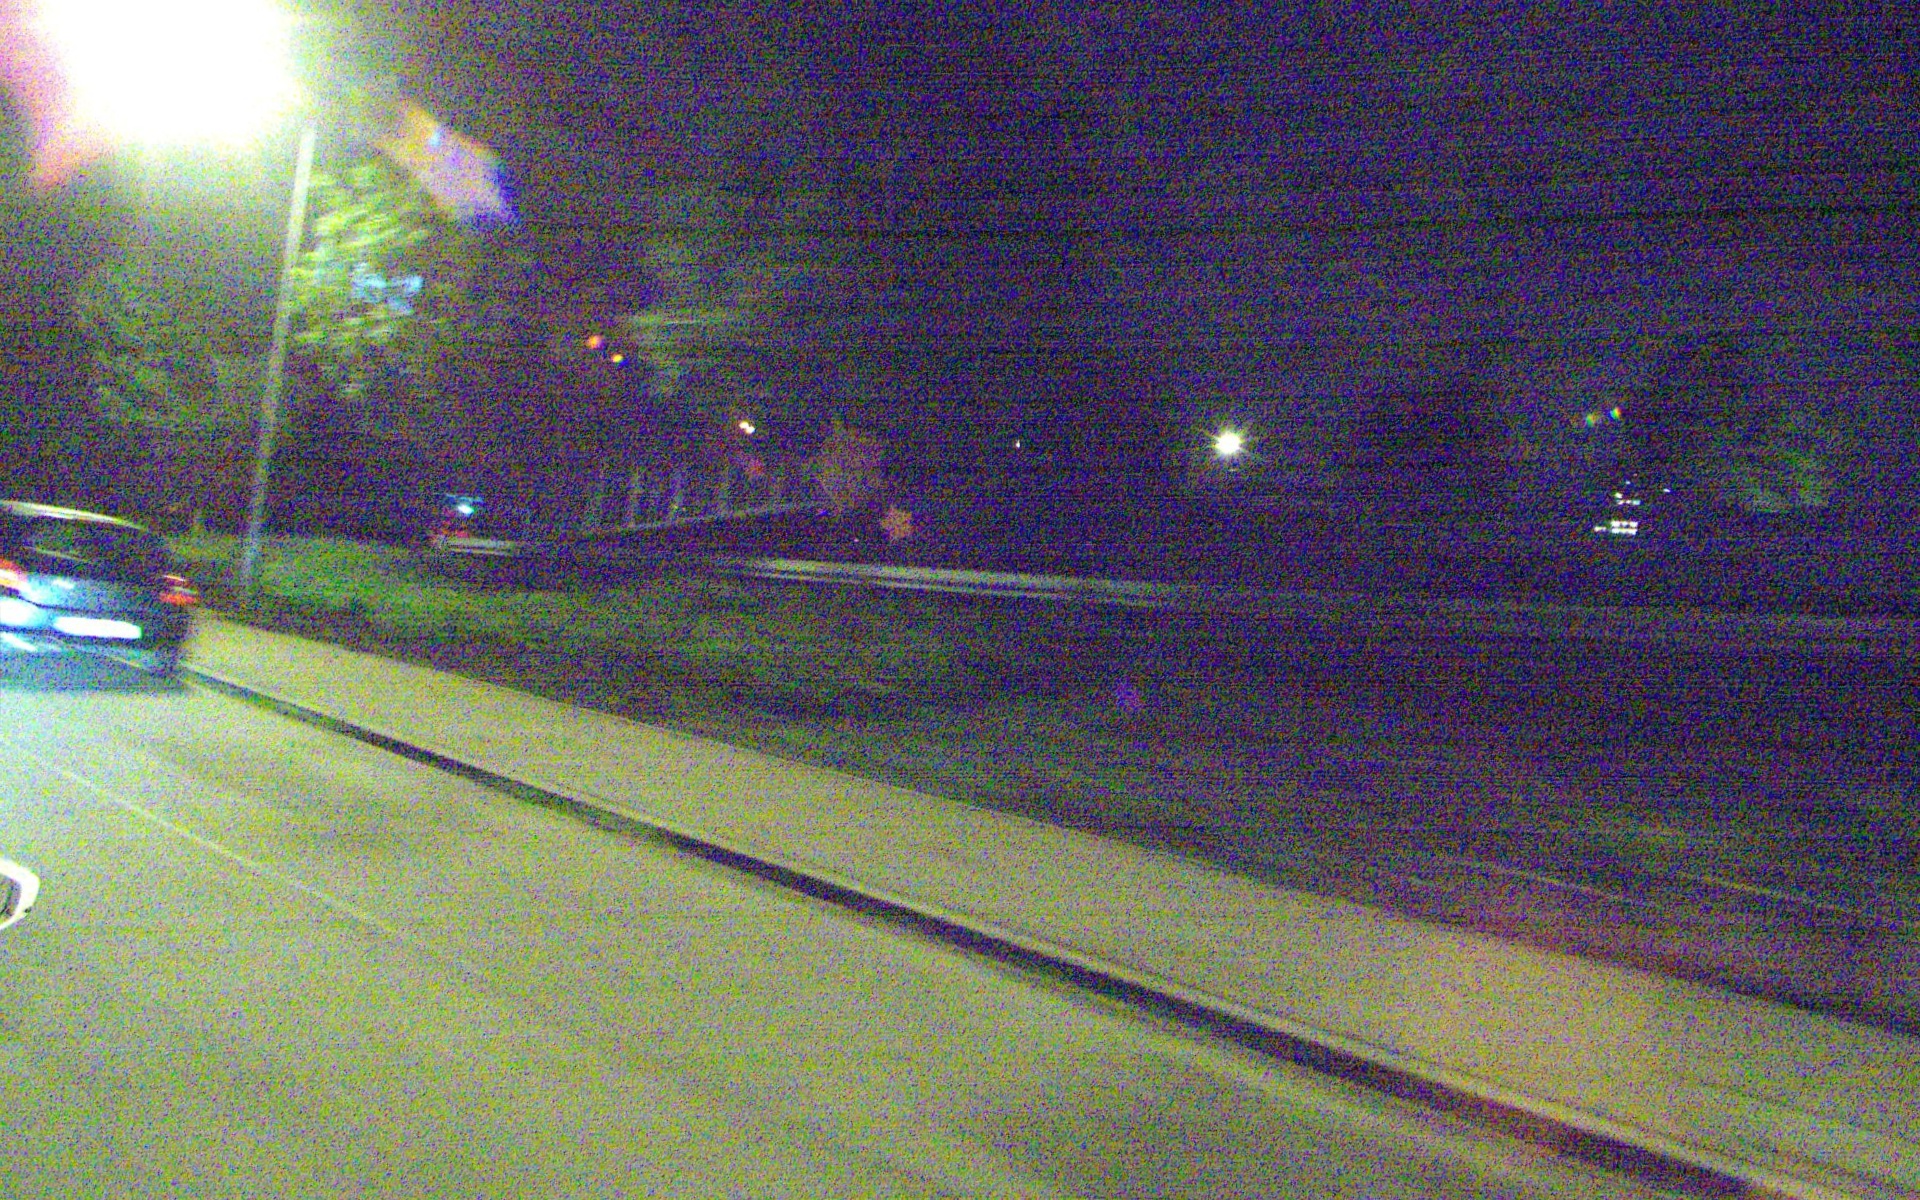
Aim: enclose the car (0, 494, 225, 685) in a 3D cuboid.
[{"bbox_3d":[-9.262,-0.239,9.930,3.933,1.525,1.714,7,-1,31],"label":"car"}]
